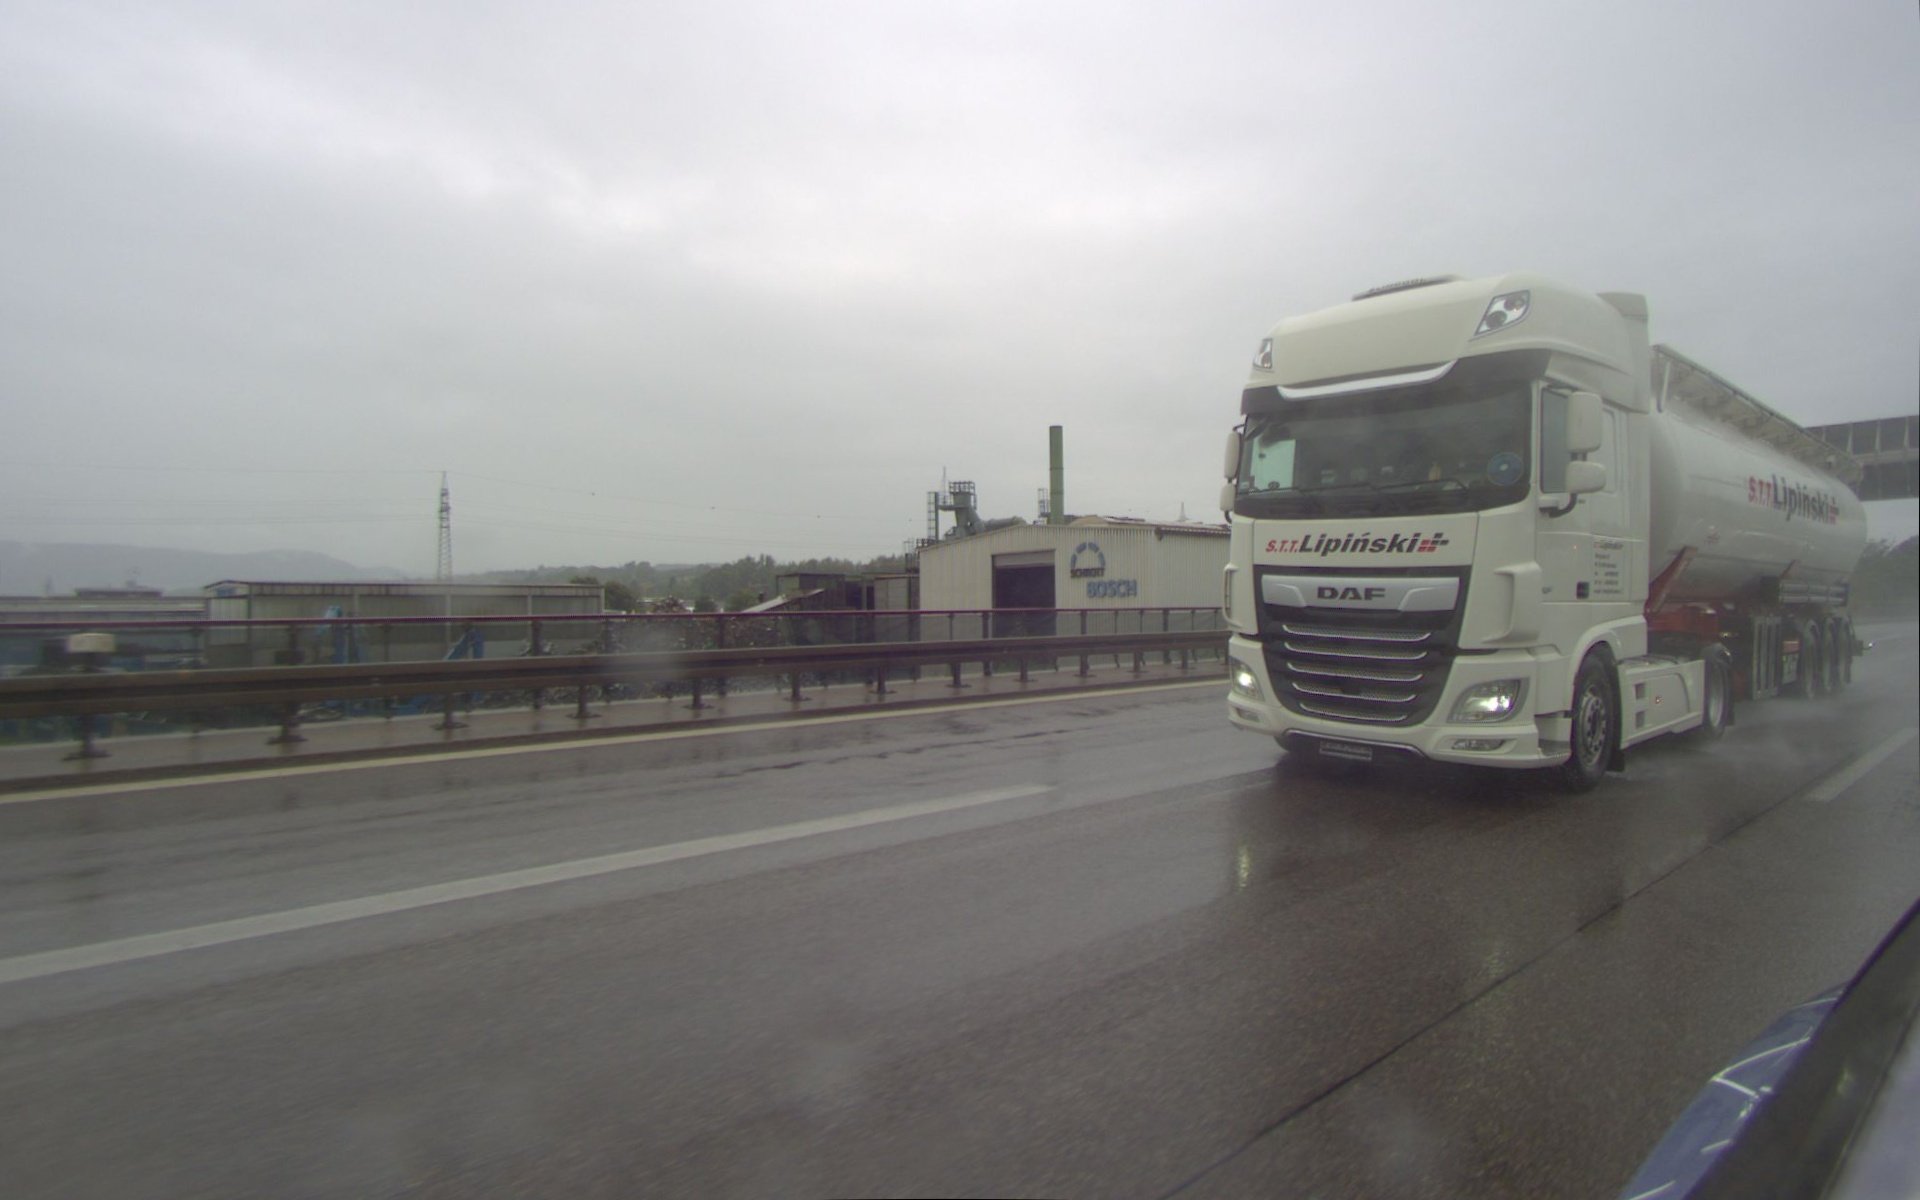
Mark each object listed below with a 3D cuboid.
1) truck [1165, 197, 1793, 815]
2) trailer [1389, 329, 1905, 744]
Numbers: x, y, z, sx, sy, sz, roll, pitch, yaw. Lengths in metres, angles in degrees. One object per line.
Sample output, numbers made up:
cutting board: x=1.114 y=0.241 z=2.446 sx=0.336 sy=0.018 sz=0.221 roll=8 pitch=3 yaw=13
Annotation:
truck: x=5.415 y=-0.619 z=9.849 sx=7.087 sy=3.855 sz=3.109 roll=0 pitch=0 yaw=-42
trailer: x=10.198 y=-0.613 z=14.061 sx=11.464 sy=3.716 sz=3.193 roll=0 pitch=0 yaw=-41
